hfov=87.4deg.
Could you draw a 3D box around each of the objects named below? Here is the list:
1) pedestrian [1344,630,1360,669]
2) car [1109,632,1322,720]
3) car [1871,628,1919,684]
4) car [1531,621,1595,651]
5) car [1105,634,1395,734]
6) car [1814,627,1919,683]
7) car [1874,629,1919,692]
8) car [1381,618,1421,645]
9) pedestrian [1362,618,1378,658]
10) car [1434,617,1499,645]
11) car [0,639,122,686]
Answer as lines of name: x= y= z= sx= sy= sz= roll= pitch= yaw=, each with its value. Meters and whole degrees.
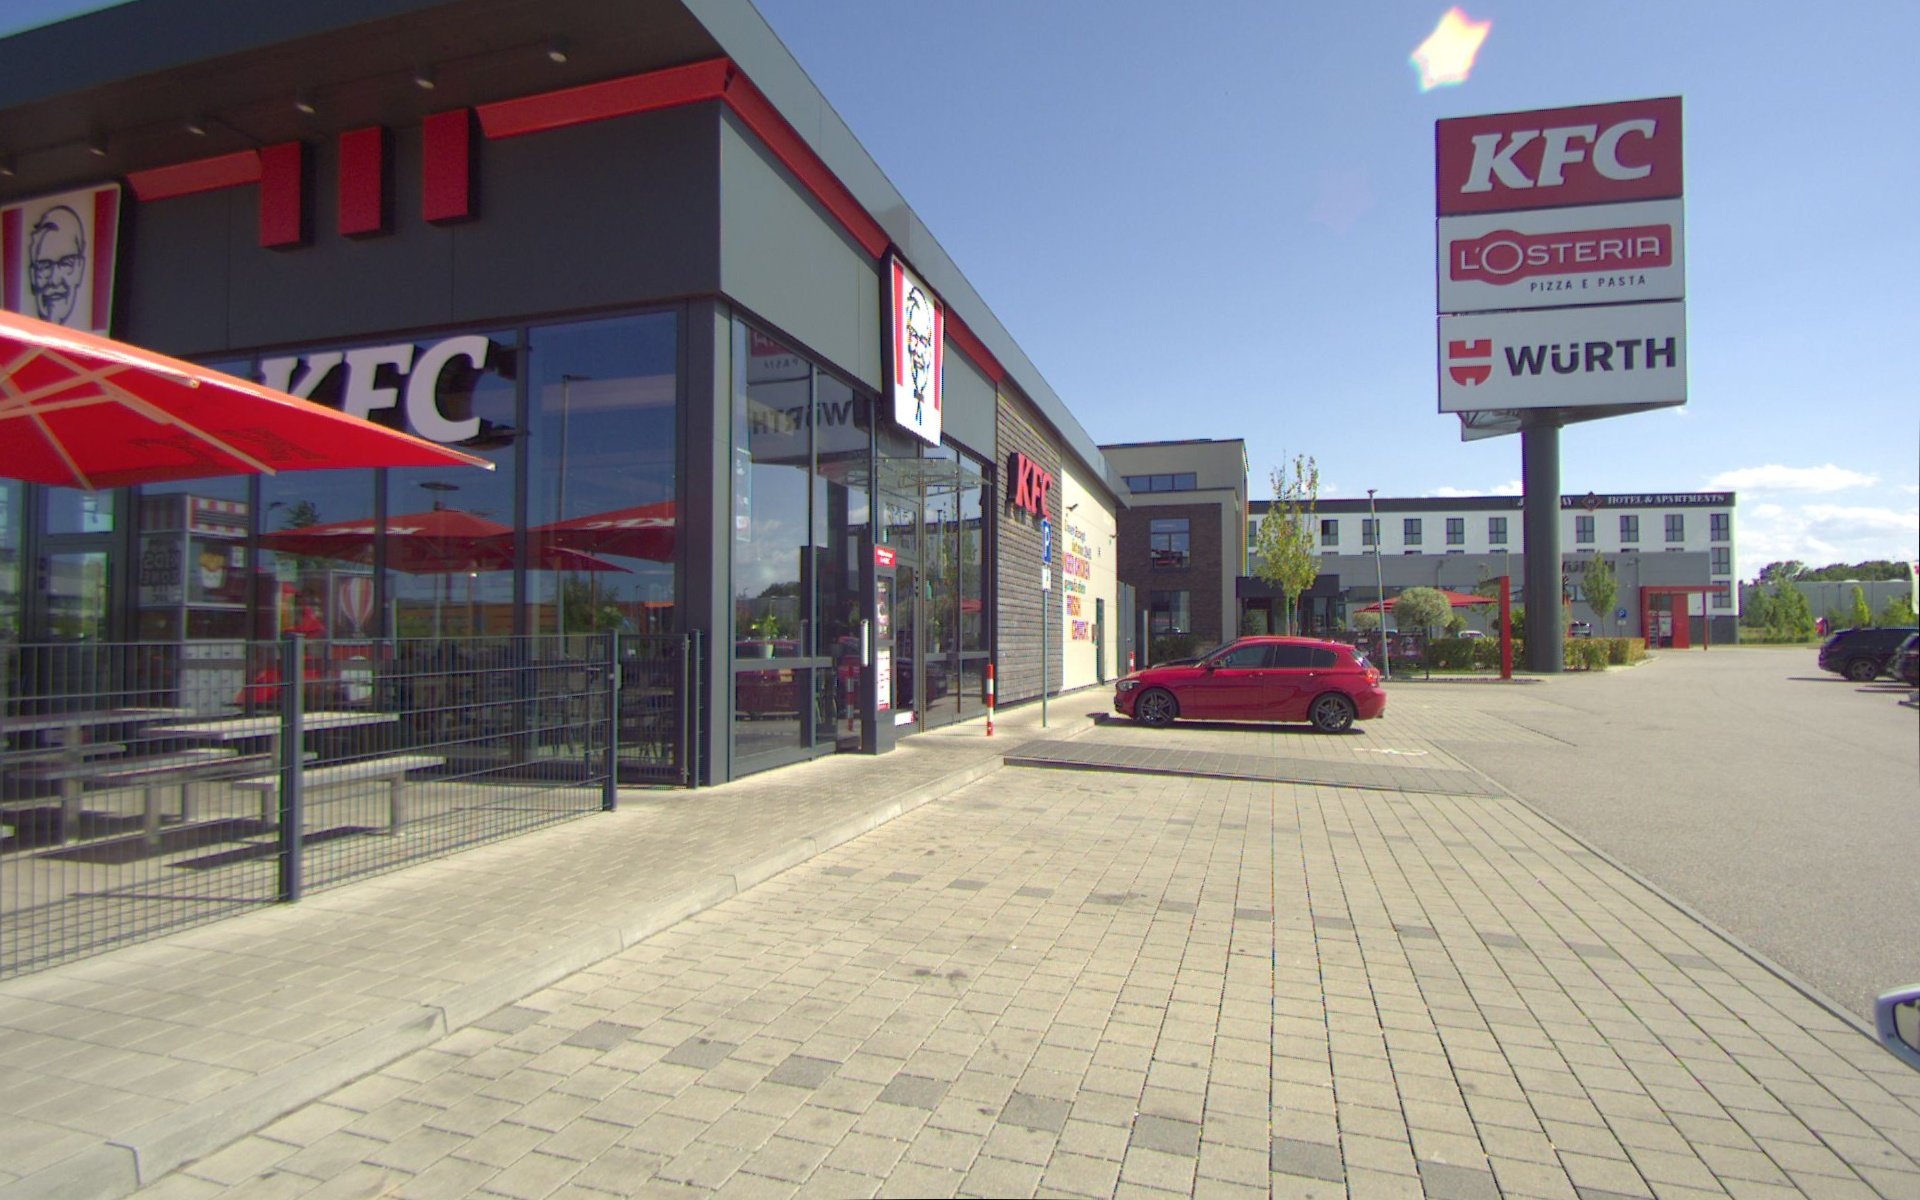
pedestrian: x=15.497 y=1.942 z=39.731 sx=0.515 sy=1.525 sz=0.569 roll=-1 pitch=-1 yaw=15
car: x=4.919 y=1.408 z=19.425 sx=3.830 sy=1.526 sz=1.741 roll=0 pitch=-1 yaw=17
car: x=30.138 y=1.691 z=30.054 sx=4.013 sy=1.630 sz=1.890 roll=0 pitch=-1 yaw=34
car: x=40.268 y=2.372 z=67.225 sx=2.035 sy=1.905 sz=4.882 roll=-1 pitch=-1 yaw=9
car: x=4.631 y=1.300 z=16.376 sx=4.313 sy=1.431 sz=1.741 roll=0 pitch=-1 yaw=15
car: x=31.040 y=1.790 z=32.865 sx=4.514 sy=1.784 sz=1.890 roll=0 pitch=-1 yaw=35
car: x=28.226 y=1.685 z=27.599 sx=4.255 sy=1.725 sz=1.892 roll=0 pitch=-1 yaw=30
car: x=22.336 y=1.585 z=51.001 sx=1.615 sy=1.326 sz=3.841 roll=-1 pitch=-2 yaw=20
pedestrian: x=16.055 y=1.484 z=39.332 sx=0.515 sy=1.525 sz=0.569 roll=-1 pitch=-1 yaw=15
car: x=29.303 y=1.758 z=58.271 sx=1.914 sy=1.551 sz=4.379 roll=-1 pitch=-1 yaw=6
car: x=-33.373 y=2.206 z=36.150 sx=2.174 sy=1.547 sz=4.435 roll=1 pitch=-1 yaw=17
